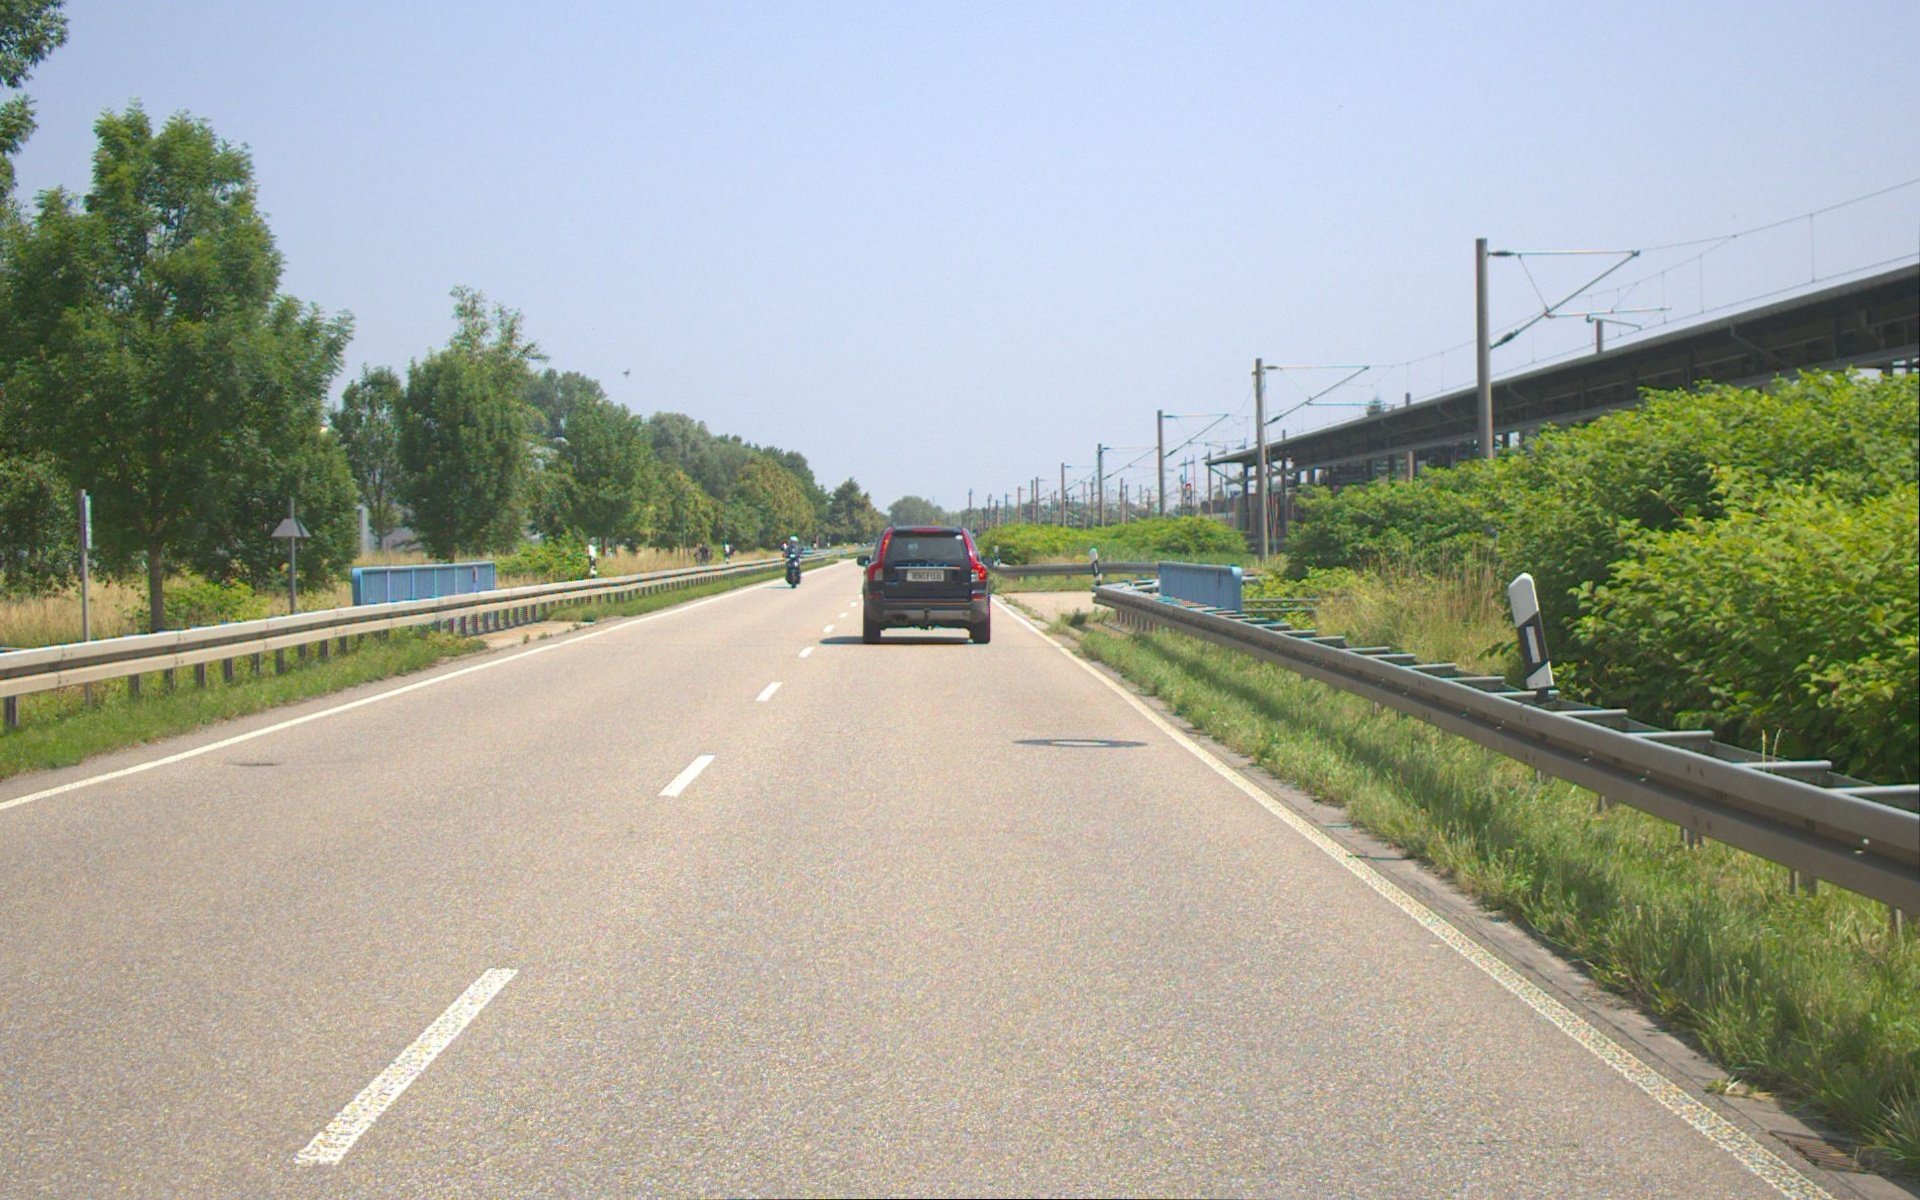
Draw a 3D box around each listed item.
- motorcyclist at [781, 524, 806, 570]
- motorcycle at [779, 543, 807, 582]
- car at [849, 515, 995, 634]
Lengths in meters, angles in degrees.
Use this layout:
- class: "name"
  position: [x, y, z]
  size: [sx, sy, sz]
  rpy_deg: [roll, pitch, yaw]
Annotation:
- class: "motorcyclist"
  position: [-5.320, -1.696, 109.802]
  size: [0.726, 1.460, 0.987]
  rpy_deg: [0, 1, 2]
- class: "motorcycle"
  position: [-5.324, -1.209, 109.789]
  size: [0.689, 1.230, 2.369]
  rpy_deg: [1, 1, 2]
- class: "car"
  position: [-0.608, -0.407, 51.144]
  size: [1.993, 1.694, 4.001]
  rpy_deg: [0, 1, -3]
